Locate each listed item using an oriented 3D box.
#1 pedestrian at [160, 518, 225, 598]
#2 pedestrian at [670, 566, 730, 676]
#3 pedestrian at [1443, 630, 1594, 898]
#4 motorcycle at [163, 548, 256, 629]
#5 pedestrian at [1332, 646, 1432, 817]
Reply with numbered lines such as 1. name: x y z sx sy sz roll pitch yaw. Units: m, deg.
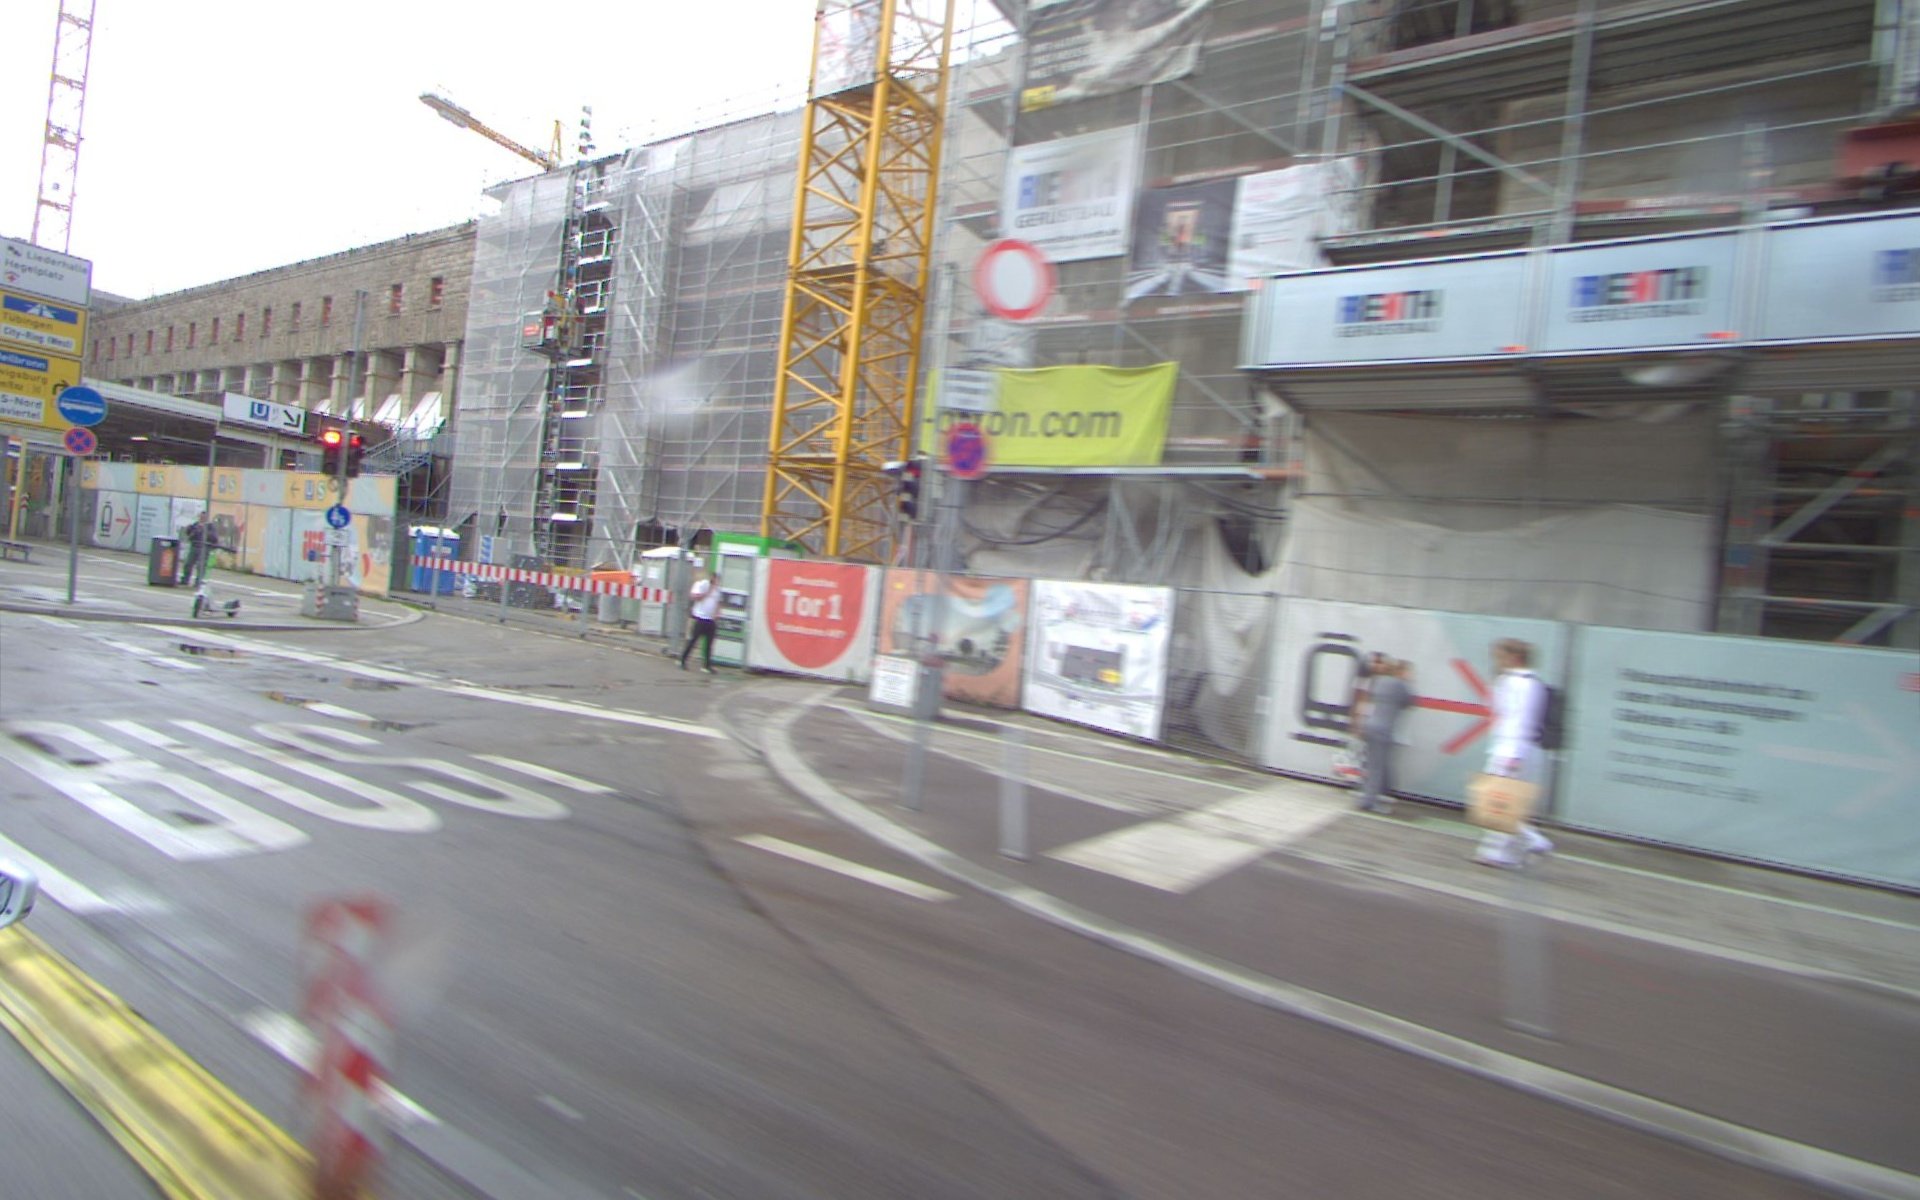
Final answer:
1. pedestrian: -17.227 -0.930 22.604 0.899 1.655 0.822 7 0 -29
2. pedestrian: -4.635 0.369 17.929 0.648 1.872 0.644 7 3 33
3. pedestrian: 4.329 1.210 7.794 0.797 1.872 0.722 7 3 33
4. motorcycle: -12.060 -0.178 16.225 0.578 1.179 1.612 7 -2 -17
5. pedestrian: 4.190 1.271 9.988 0.654 1.560 0.651 7 3 34
